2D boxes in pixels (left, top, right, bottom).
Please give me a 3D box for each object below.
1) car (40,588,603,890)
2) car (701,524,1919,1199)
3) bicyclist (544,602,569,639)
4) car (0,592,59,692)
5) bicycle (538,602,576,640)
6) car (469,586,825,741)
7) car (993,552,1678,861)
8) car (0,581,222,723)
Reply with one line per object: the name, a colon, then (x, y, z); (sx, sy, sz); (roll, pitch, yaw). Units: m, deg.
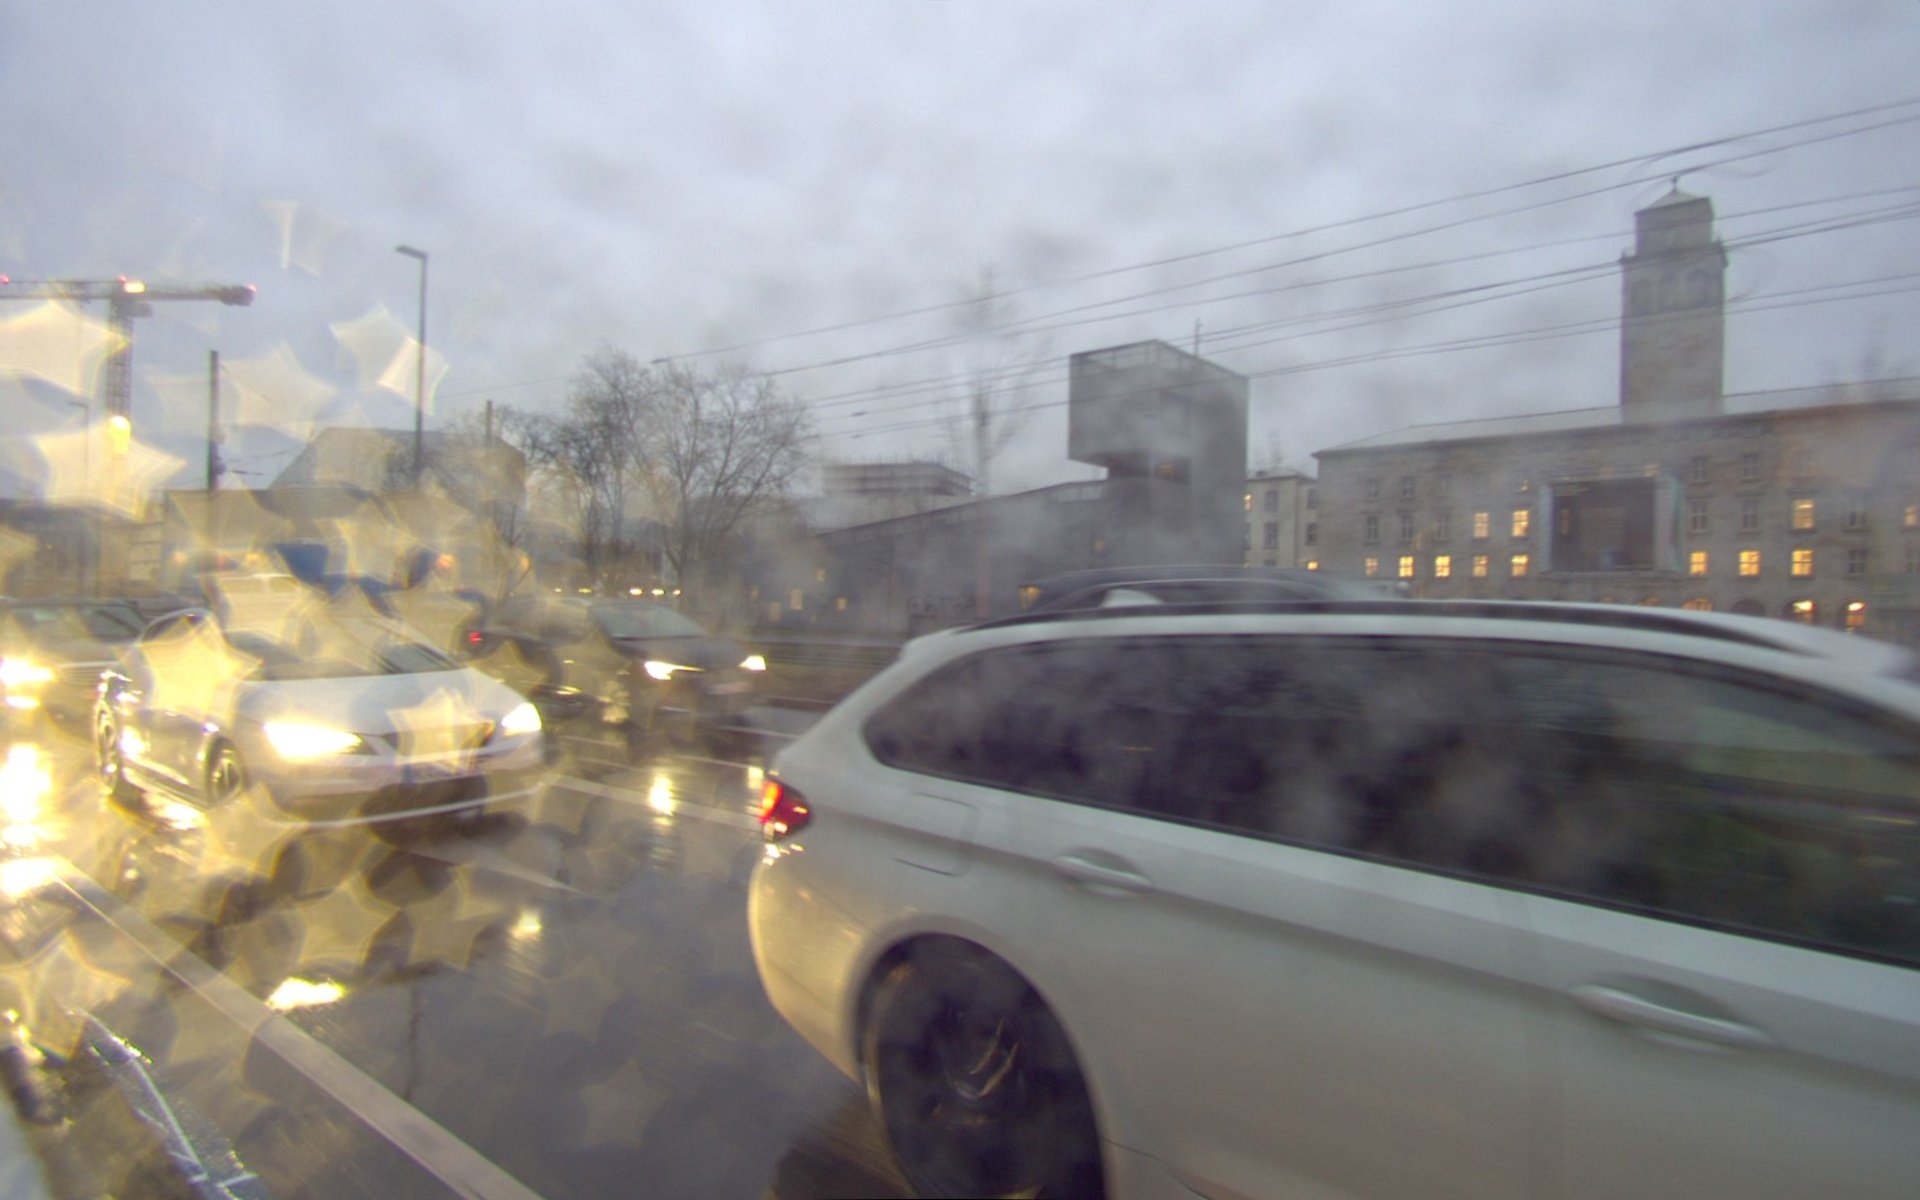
car: (-4.684, 0.674, 7.167); (4.498, 1.498, 1.926); (0, 1, 37)
car: (1.666, 0.674, 2.123); (4.556, 1.498, 1.997); (0, -1, 40)
bicyclist: (-19.673, 0.985, 49.365); (0.960, 1.745, 0.754); (2, 2, 38)
car: (-17.068, 0.665, 17.378); (3.998, 1.586, 1.883); (1, 1, 41)
bicycle: (-19.661, 0.993, 49.373); (2.061, 1.745, 0.754); (2, 2, 38)
car: (-3.913, 0.619, 12.227); (4.658, 1.519, 1.830); (1, 0, 39)
car: (2.508, 0.536, 7.391); (4.288, 1.596, 1.946); (1, 0, 42)
car: (-11.260, 0.553, 12.812); (4.500, 1.498, 1.974); (0, -1, 39)
